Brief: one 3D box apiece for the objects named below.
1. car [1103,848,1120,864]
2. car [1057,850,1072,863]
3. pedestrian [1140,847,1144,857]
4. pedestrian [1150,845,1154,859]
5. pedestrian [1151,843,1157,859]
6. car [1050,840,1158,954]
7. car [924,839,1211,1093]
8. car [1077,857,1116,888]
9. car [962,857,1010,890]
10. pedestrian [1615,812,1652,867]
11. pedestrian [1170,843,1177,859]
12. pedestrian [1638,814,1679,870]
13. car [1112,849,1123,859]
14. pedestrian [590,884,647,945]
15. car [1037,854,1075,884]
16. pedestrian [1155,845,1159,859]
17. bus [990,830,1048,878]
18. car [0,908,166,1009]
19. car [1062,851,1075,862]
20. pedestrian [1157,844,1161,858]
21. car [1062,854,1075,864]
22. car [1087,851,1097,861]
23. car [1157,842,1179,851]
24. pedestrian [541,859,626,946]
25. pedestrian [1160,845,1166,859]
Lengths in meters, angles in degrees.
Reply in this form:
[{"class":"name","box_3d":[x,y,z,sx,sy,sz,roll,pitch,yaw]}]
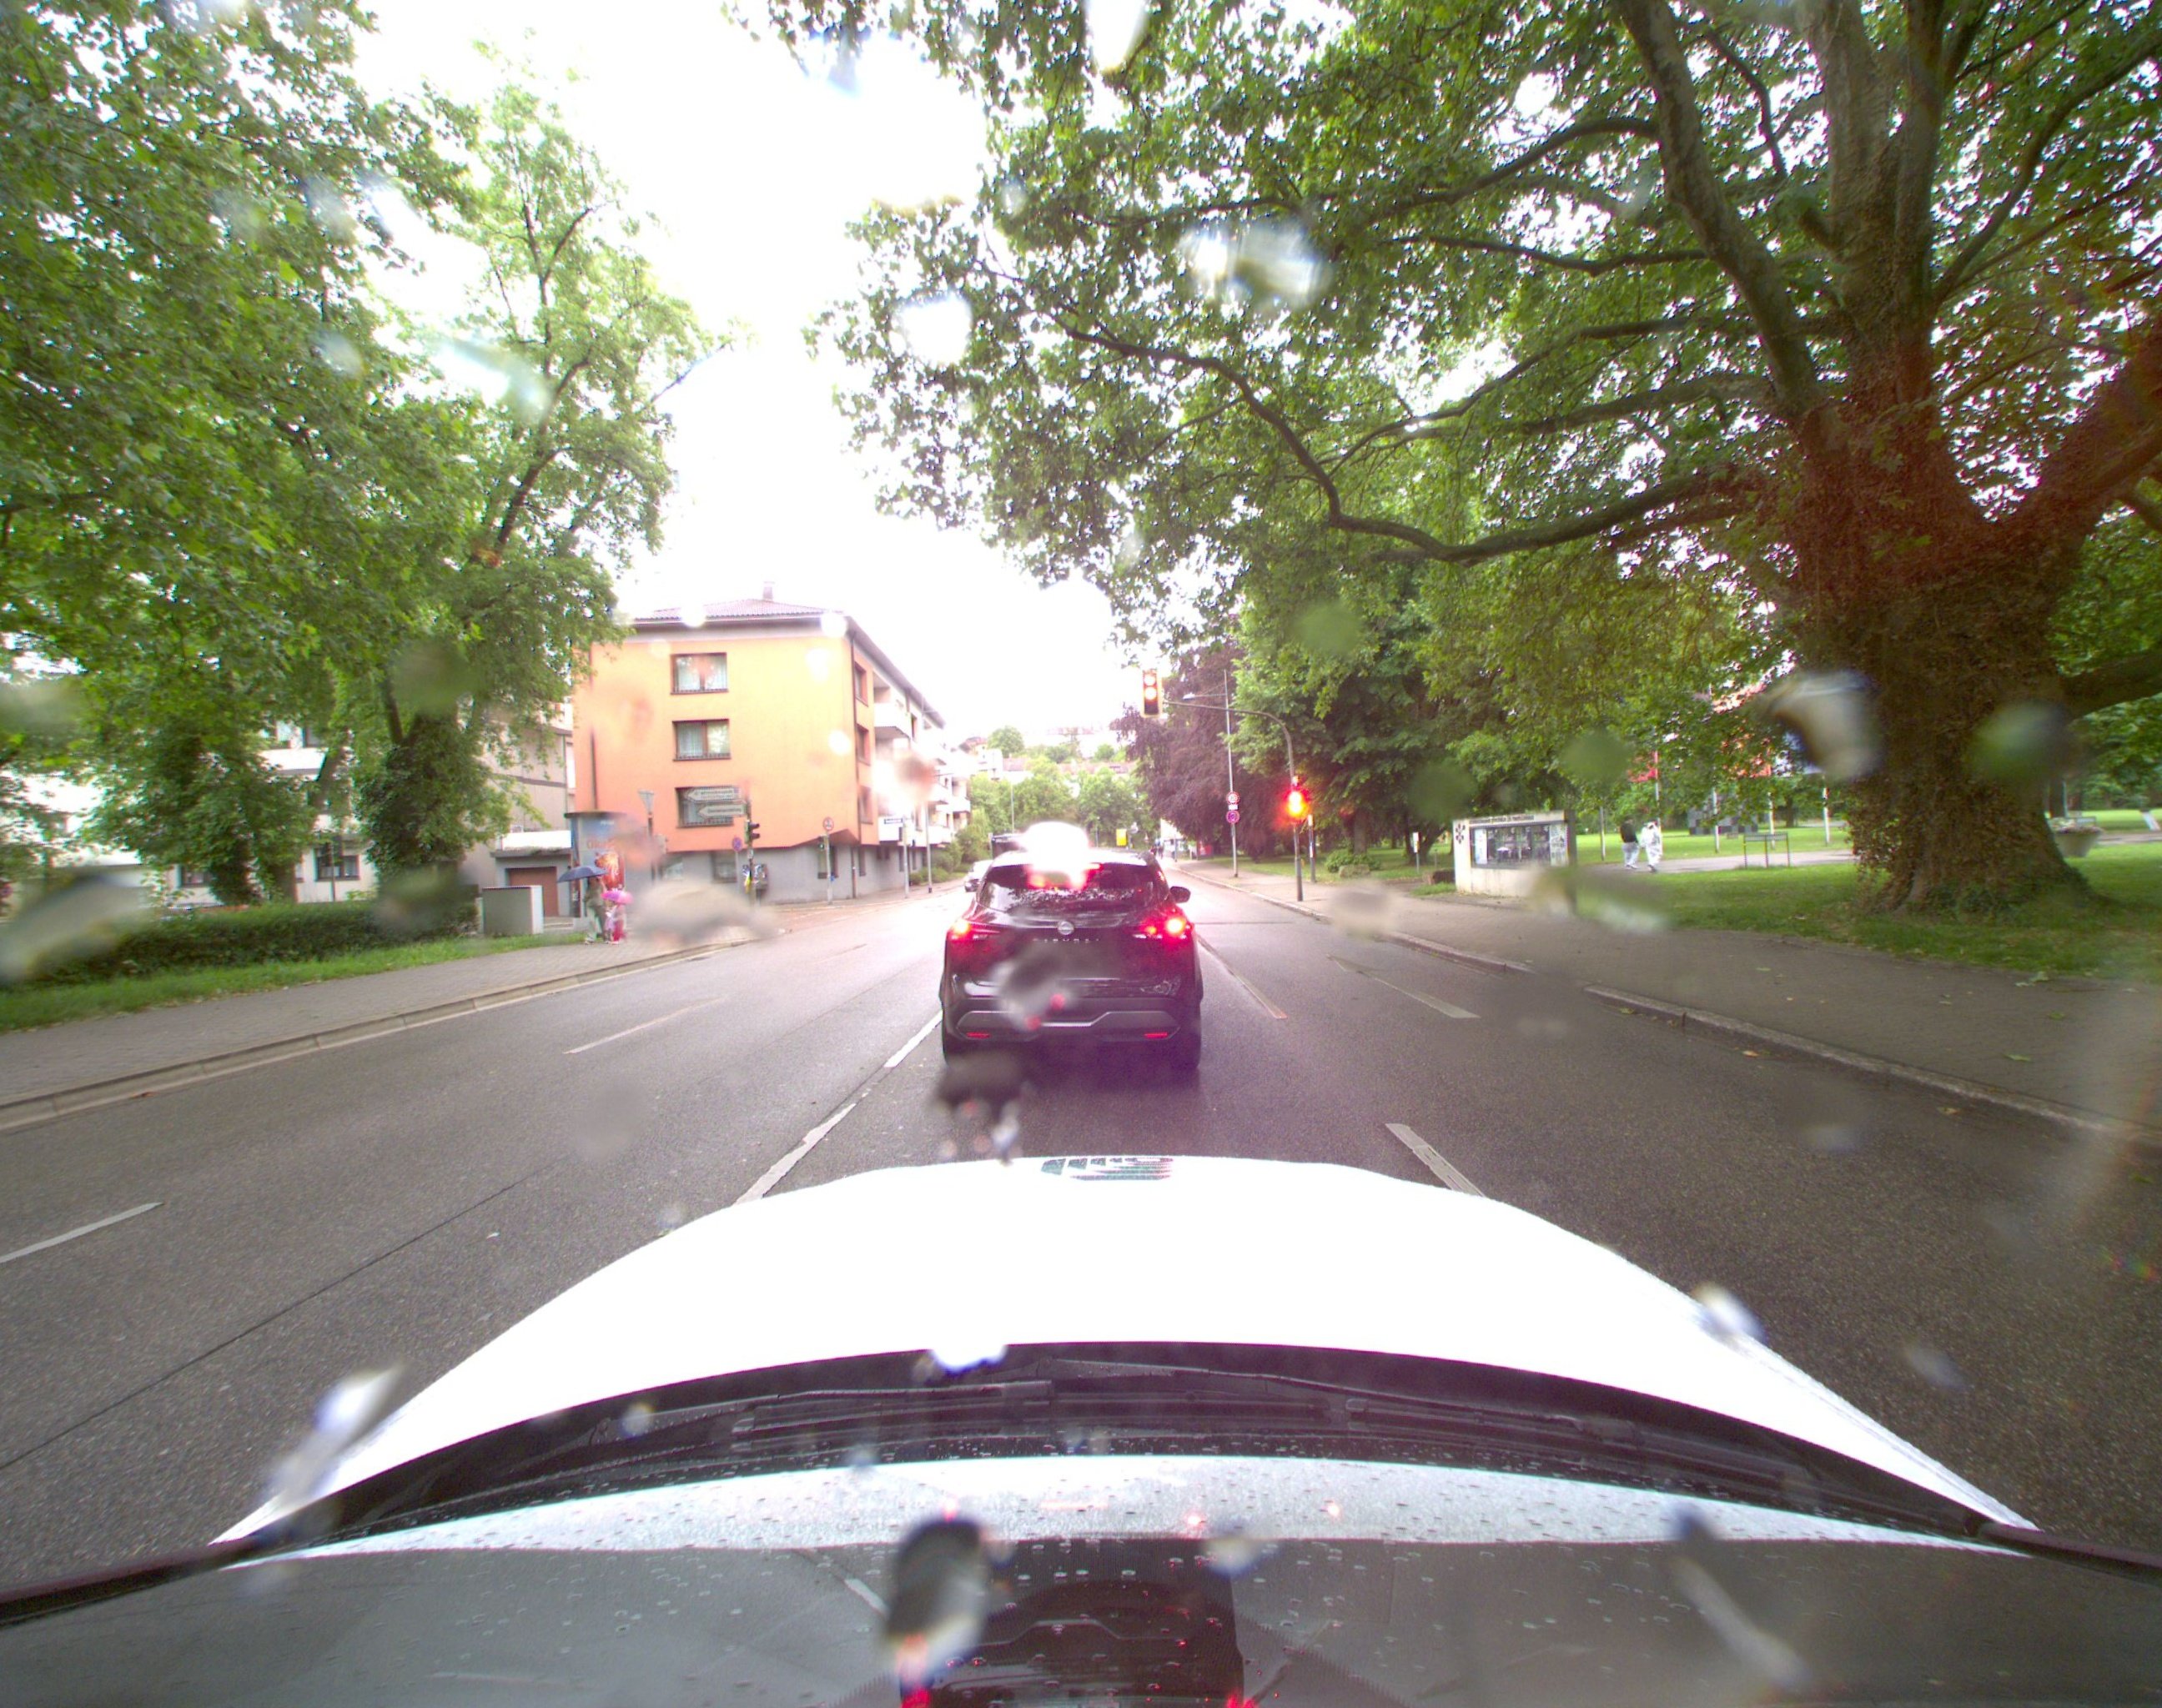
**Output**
[{"class":"car","box_3d":[3.159,0.194,83.275,1.618,1.415,3.456,-3,0,2]},{"class":"car","box_3d":[-2.181,0.335,106.595,1.671,1.469,4.217,-4,0,1]},{"class":"pedestrian","box_3d":[13.238,-0.424,175.562,0.696,2.013,0.583,-3,0,1]},{"class":"pedestrian","box_3d":[8.650,-0.249,99.795,0.473,1.651,0.490,0,-1,2]},{"class":"pedestrian","box_3d":[9.895,-0.449,110.460,0.764,2.183,0.712,0,-1,5]},{"class":"car","box_3d":[0.481,0.678,14.812,1.615,1.709,3.774,-3,0,3]},{"class":"car","box_3d":[-0.022,0.721,7.133,1.799,1.590,4.001,0,-1,2]},{"class":"car","box_3d":[0.774,0.917,41.235,1.802,1.417,4.031,-2,0,1]},{"class":"car","box_3d":[-4.770,0.966,41.248,1.802,1.417,4.031,-4,0,1]},{"class":"pedestrian","box_3d":[18.193,-0.469,26.831,0.663,1.756,0.722,0,-1,-7]},{"class":"pedestrian","box_3d":[10.733,-0.380,94.546,0.616,1.779,0.779,-3,0,1]},{"class":"pedestrian","box_3d":[18.046,-0.375,25.462,0.663,1.712,0.788,0,-1,-7]},{"class":"car","box_3d":[6.370,-0.053,140.930,1.743,1.633,3.636,-3,0,2]},{"class":"pedestrian","box_3d":[-9.439,1.226,16.644,0.681,1.175,0.827,-1,0,1]},{"class":"car","box_3d":[-1.266,0.734,42.466,1.618,1.415,3.456,-3,0,2]},{"class":"pedestrian","box_3d":[9.300,-0.255,99.711,0.542,1.651,0.490,0,-1,2]},{"class":"bus","box_3d":[-4.289,0.039,58.710,2.756,2.974,11.786,-3,0,2]},{"class":"car","box_3d":[-18.008,1.739,13.810,3.182,1.524,1.507,0,-1,-1]},{"class":"car","box_3d":[-2.021,0.374,129.099,1.743,1.633,3.636,-3,0,2]},{"class":"pedestrian","box_3d":[9.373,-0.342,98.021,0.513,1.655,0.550,0,-1,1]},{"class":"car","box_3d":[-1.872,0.779,119.570,1.671,1.296,3.752,-4,0,1]},{"class":"car","box_3d":[2.286,0.496,166.897,1.986,2.014,4.001,0,-1,2]},{"class":"car","box_3d":[17.610,-1.477,164.252,3.986,1.684,1.994,-3,0,-9]},{"class":"pedestrian","box_3d":[-10.404,0.977,17.082,0.988,1.742,1.210,-1,0,1]},{"class":"pedestrian","box_3d":[10.010,-0.261,99.620,0.696,1.651,0.628,0,-1,2]}]
